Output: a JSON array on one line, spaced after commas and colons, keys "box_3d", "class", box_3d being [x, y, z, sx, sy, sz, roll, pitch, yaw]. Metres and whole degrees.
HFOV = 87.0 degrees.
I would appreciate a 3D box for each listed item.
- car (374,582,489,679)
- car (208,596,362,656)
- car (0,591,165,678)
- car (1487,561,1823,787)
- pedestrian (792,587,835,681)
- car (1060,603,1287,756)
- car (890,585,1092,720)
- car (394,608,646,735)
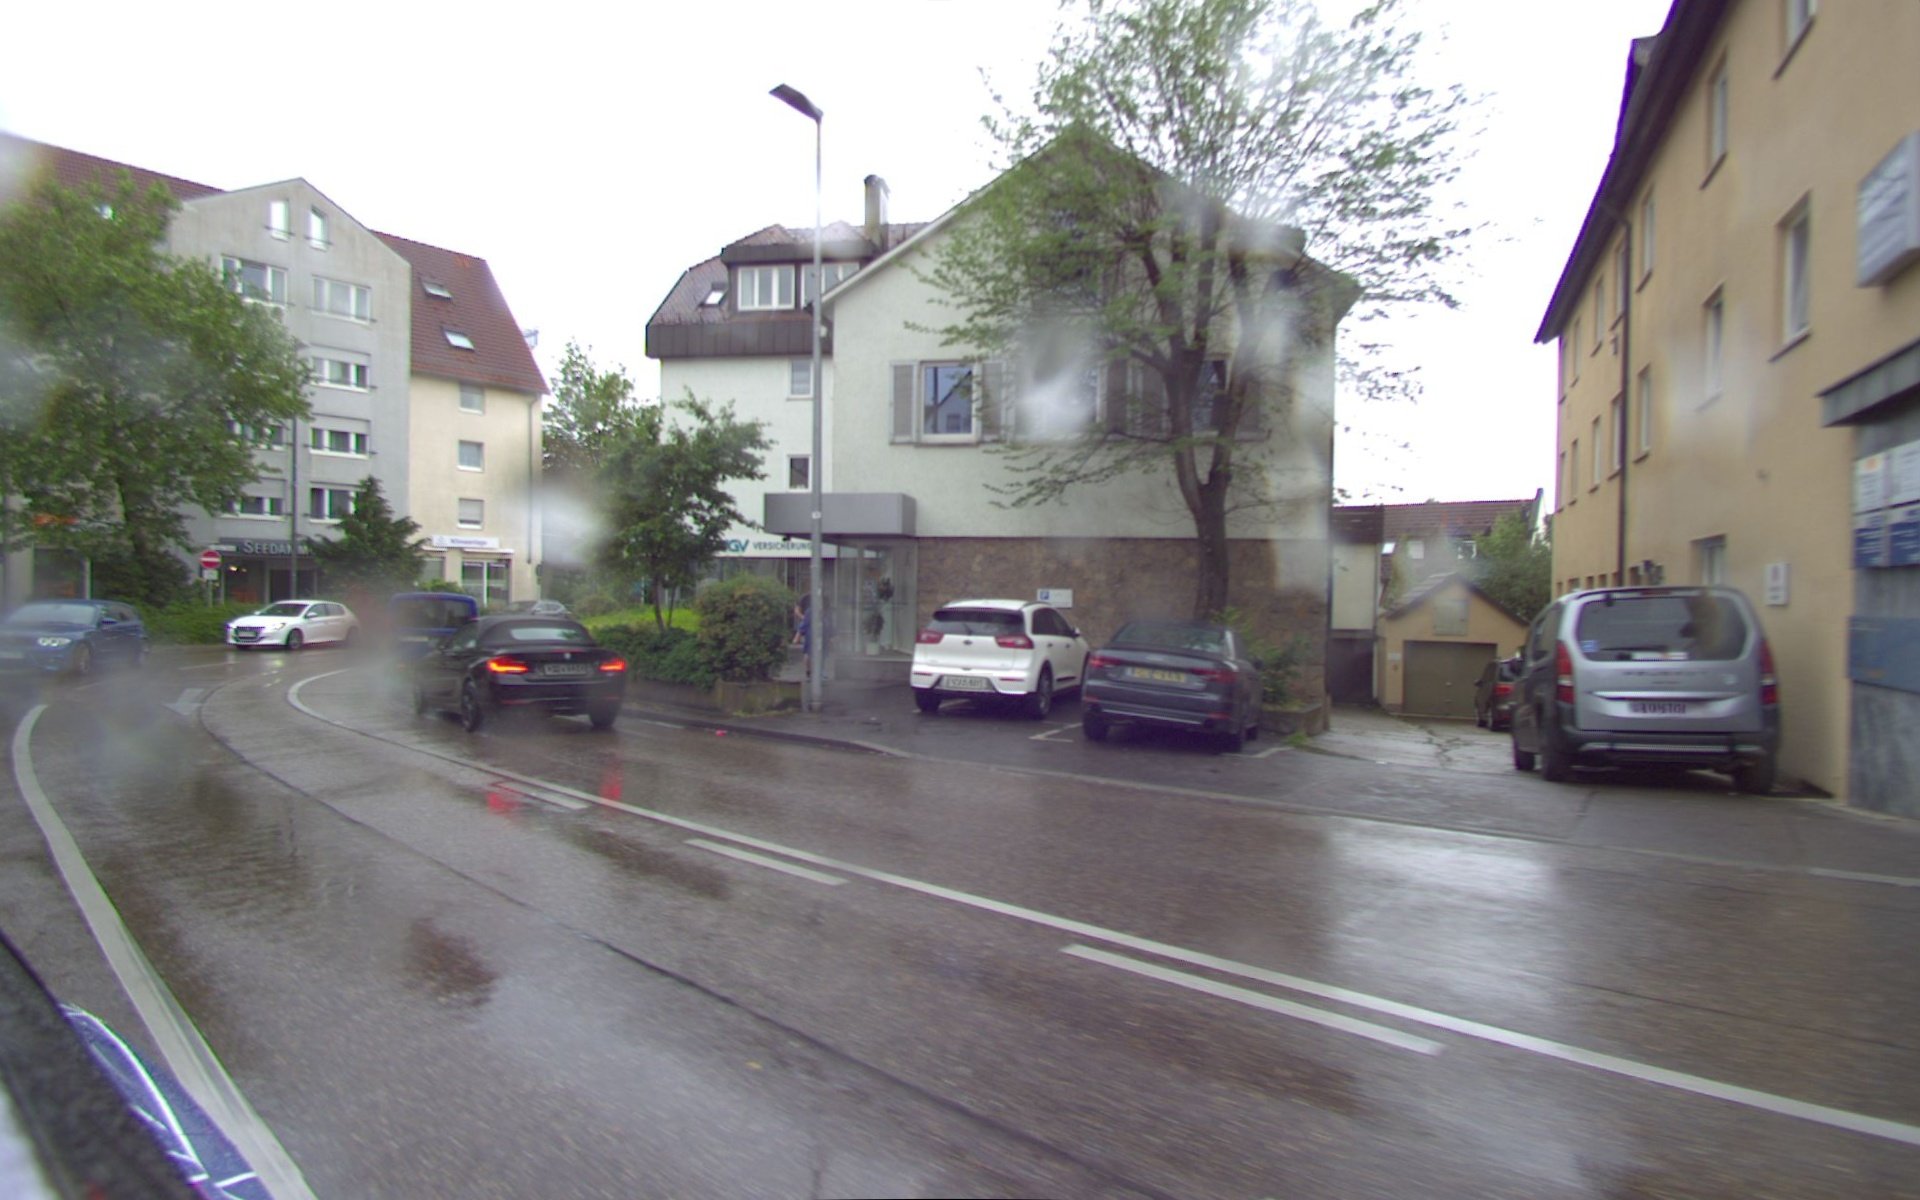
[{"box_3d": [-11.598, 0.646, 22.192, 1.965, 1.896, 4.392, 3, -2, -28], "class": "car"}, {"box_3d": [-20.212, 0.732, 30.535, 1.791, 1.577, 3.996, 3, 1, 3], "class": "car"}, {"box_3d": [-17.648, 0.725, 19.942, 1.744, 1.544, 4.391, -1, -3, -19], "class": "car"}, {"box_3d": [7.032, 0.884, 10.901, 1.950, 1.840, 4.895, -2, -7, 23], "class": "car"}, {"box_3d": [-2.527, 0.573, 17.486, 0.539, 1.587, 0.654, 1, 0, 11], "class": "pedestrian"}, {"box_3d": [2.673, 0.888, 11.925, 1.888, 1.465, 3.968, -1, -4, 23], "class": "car"}, {"box_3d": [0.589, 0.660, 14.422, 1.983, 1.641, 3.624, 0, -1, 17], "class": "car"}, {"box_3d": [-5.913, 0.839, 13.309, 1.838, 1.397, 4.269, 4, -3, -40], "class": "car"}]
